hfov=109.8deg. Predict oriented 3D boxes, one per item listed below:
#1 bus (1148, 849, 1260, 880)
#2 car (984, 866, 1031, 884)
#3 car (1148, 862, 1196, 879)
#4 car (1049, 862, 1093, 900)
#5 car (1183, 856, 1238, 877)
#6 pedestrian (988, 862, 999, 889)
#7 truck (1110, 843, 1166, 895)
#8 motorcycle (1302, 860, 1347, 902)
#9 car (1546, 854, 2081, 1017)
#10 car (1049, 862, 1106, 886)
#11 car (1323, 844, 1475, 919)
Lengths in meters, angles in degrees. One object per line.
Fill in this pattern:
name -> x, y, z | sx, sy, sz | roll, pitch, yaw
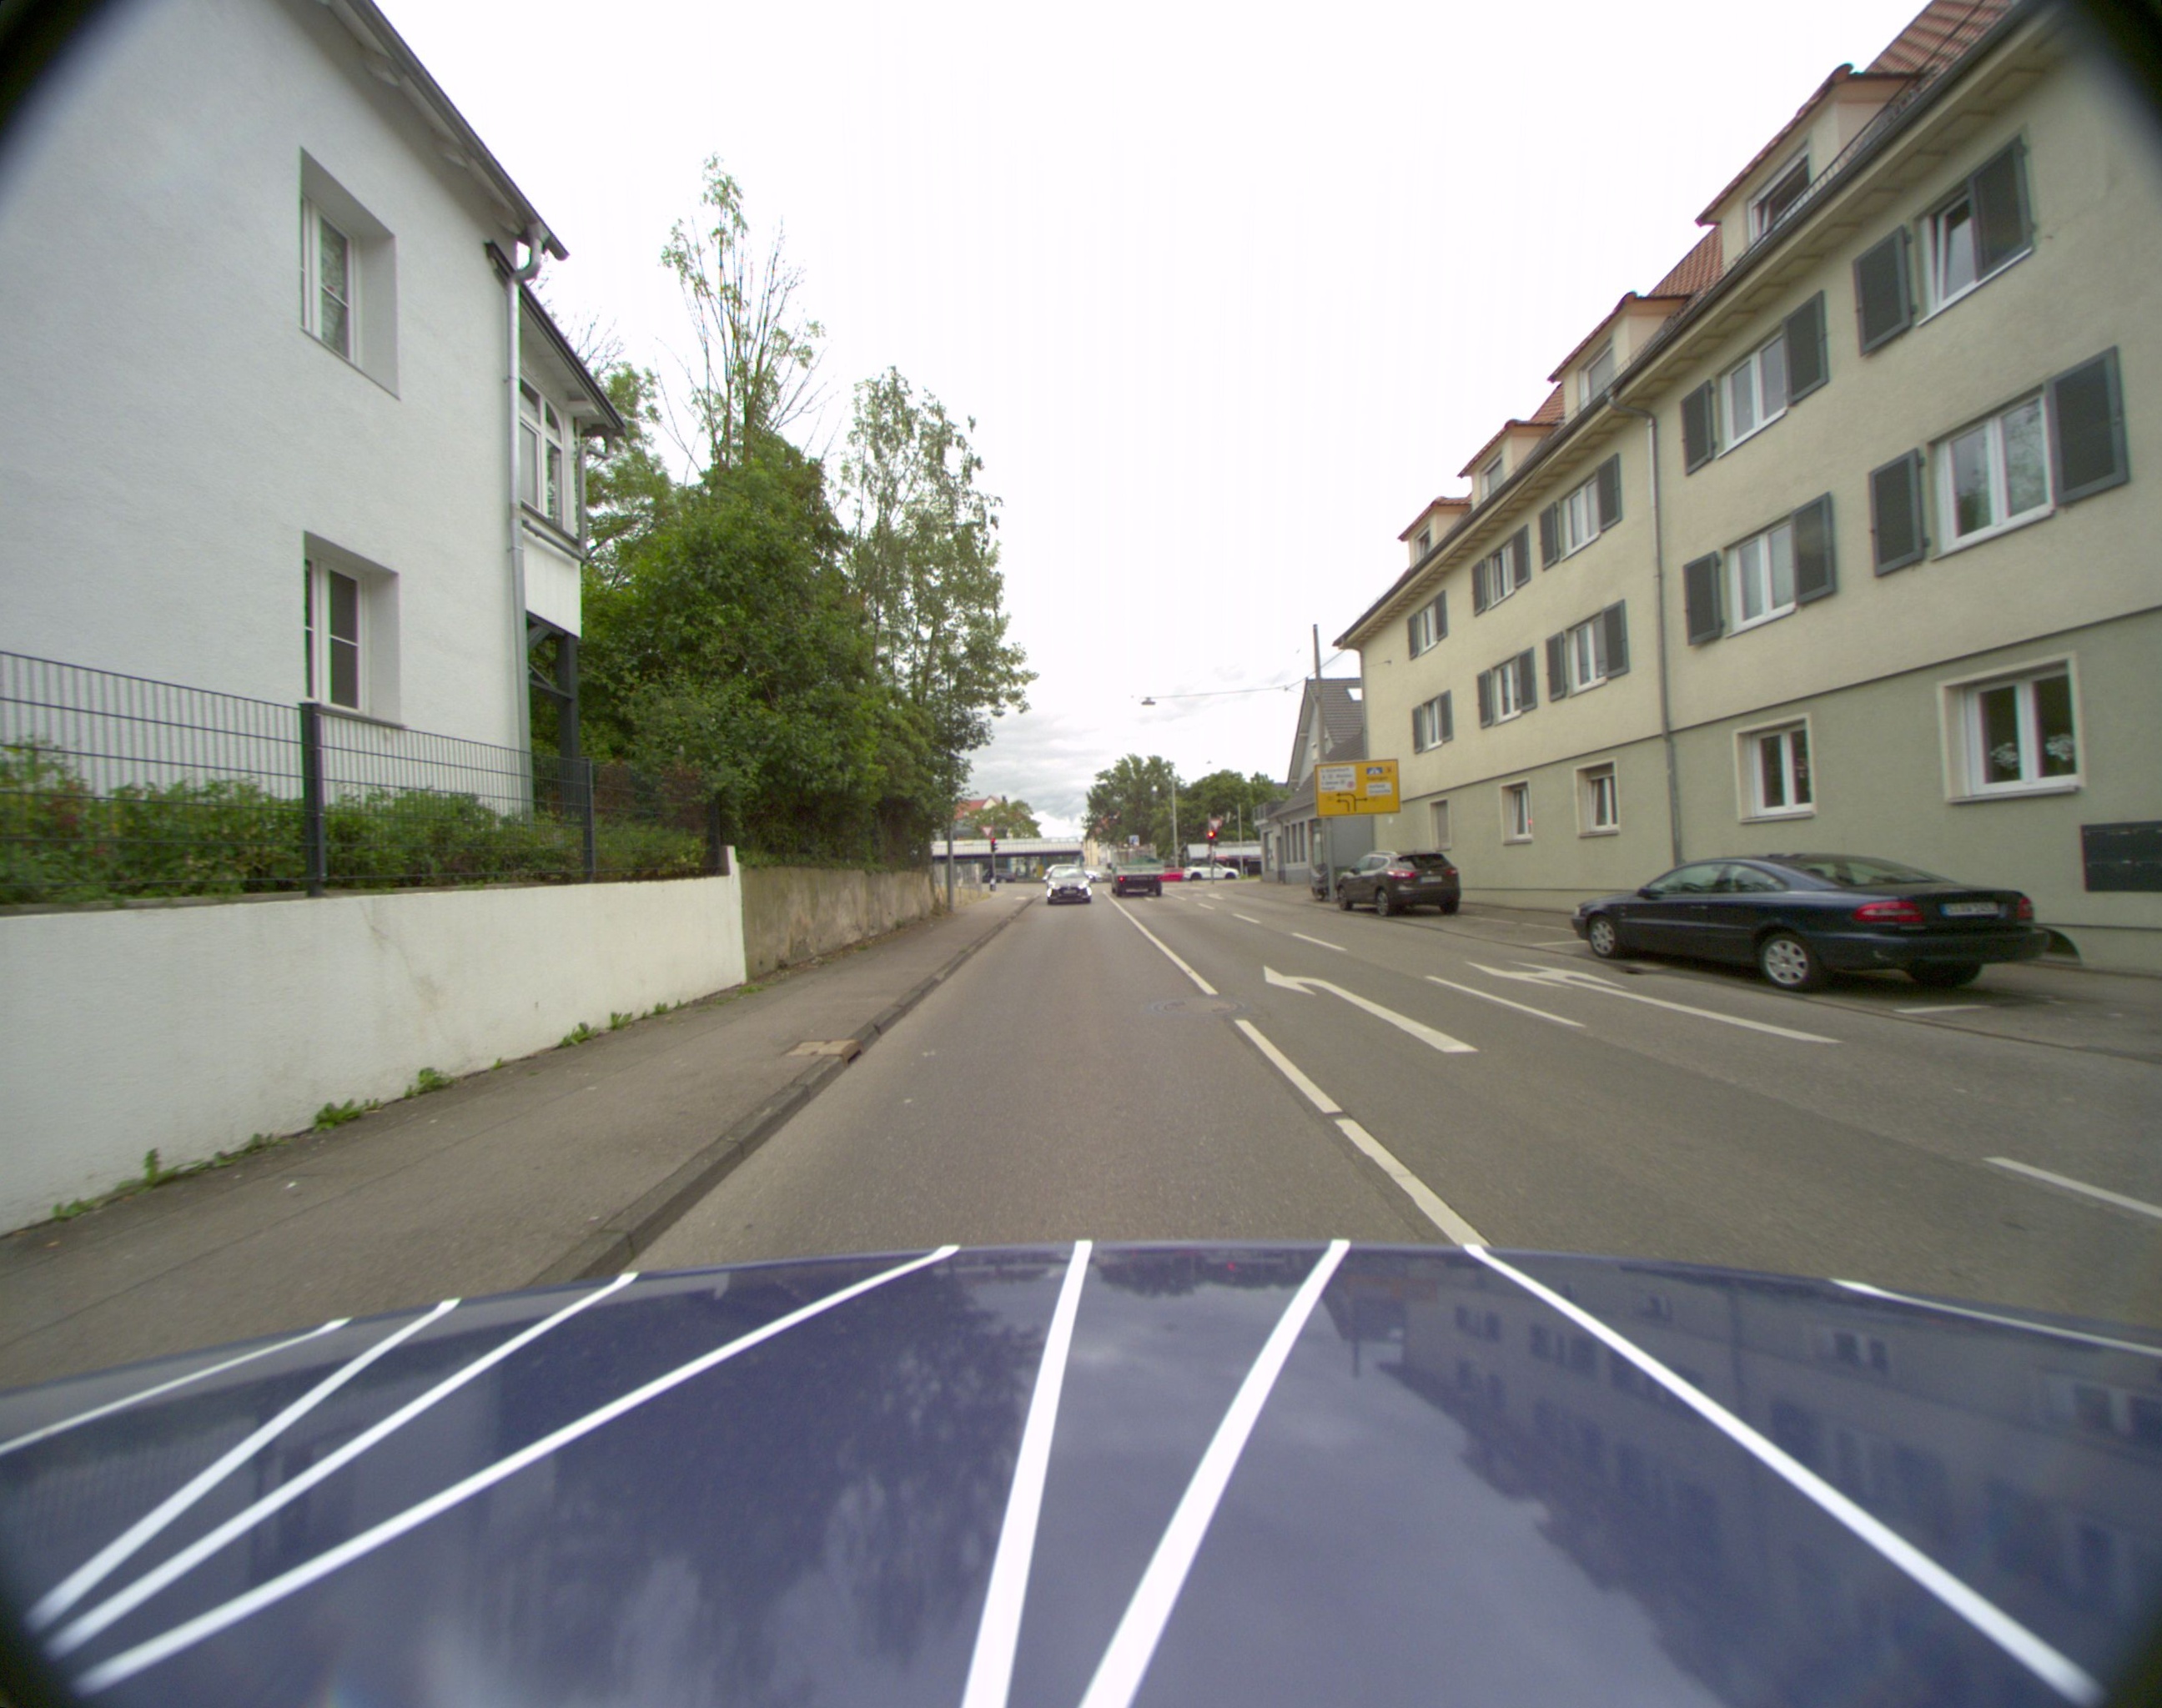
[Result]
bus -> 13.395, 1.166, 83.192 | 11.846, 3.043, 2.001 | -1, -2, 3
car -> -6.443, 1.813, 66.494 | 3.999, 1.401, 1.779 | -1, 0, -6
car -> 8.076, 1.462, 67.759 | 3.998, 1.401, 1.779 | -1, 0, -4
car -> -0.435, 1.039, 30.556 | 1.646, 1.390, 3.781 | 0, -1, -2
car -> 10.129, 0.973, 59.609 | 3.996, 1.503, 2.000 | -1, 0, 1
pedestrian -> -5.170, 1.266, 44.749 | 0.553, 1.581, 0.672 | 1, 0, -3
truck -> 2.608, 0.704, 36.307 | 2.126, 2.188, 6.590 | -2, -1, 0
motorcycle -> 7.973, 0.859, 24.994 | 0.627, 1.283, 2.230 | -4, 0, -2
car -> 8.019, 0.742, 9.193 | 1.715, 1.395, 4.845 | -2, 0, -1
car -> -0.274, 1.450, 56.362 | 3.999, 1.683, 1.974 | -1, 0, -6
car -> 8.080, 0.660, 19.856 | 1.827, 1.623, 4.696 | -3, 0, -2
